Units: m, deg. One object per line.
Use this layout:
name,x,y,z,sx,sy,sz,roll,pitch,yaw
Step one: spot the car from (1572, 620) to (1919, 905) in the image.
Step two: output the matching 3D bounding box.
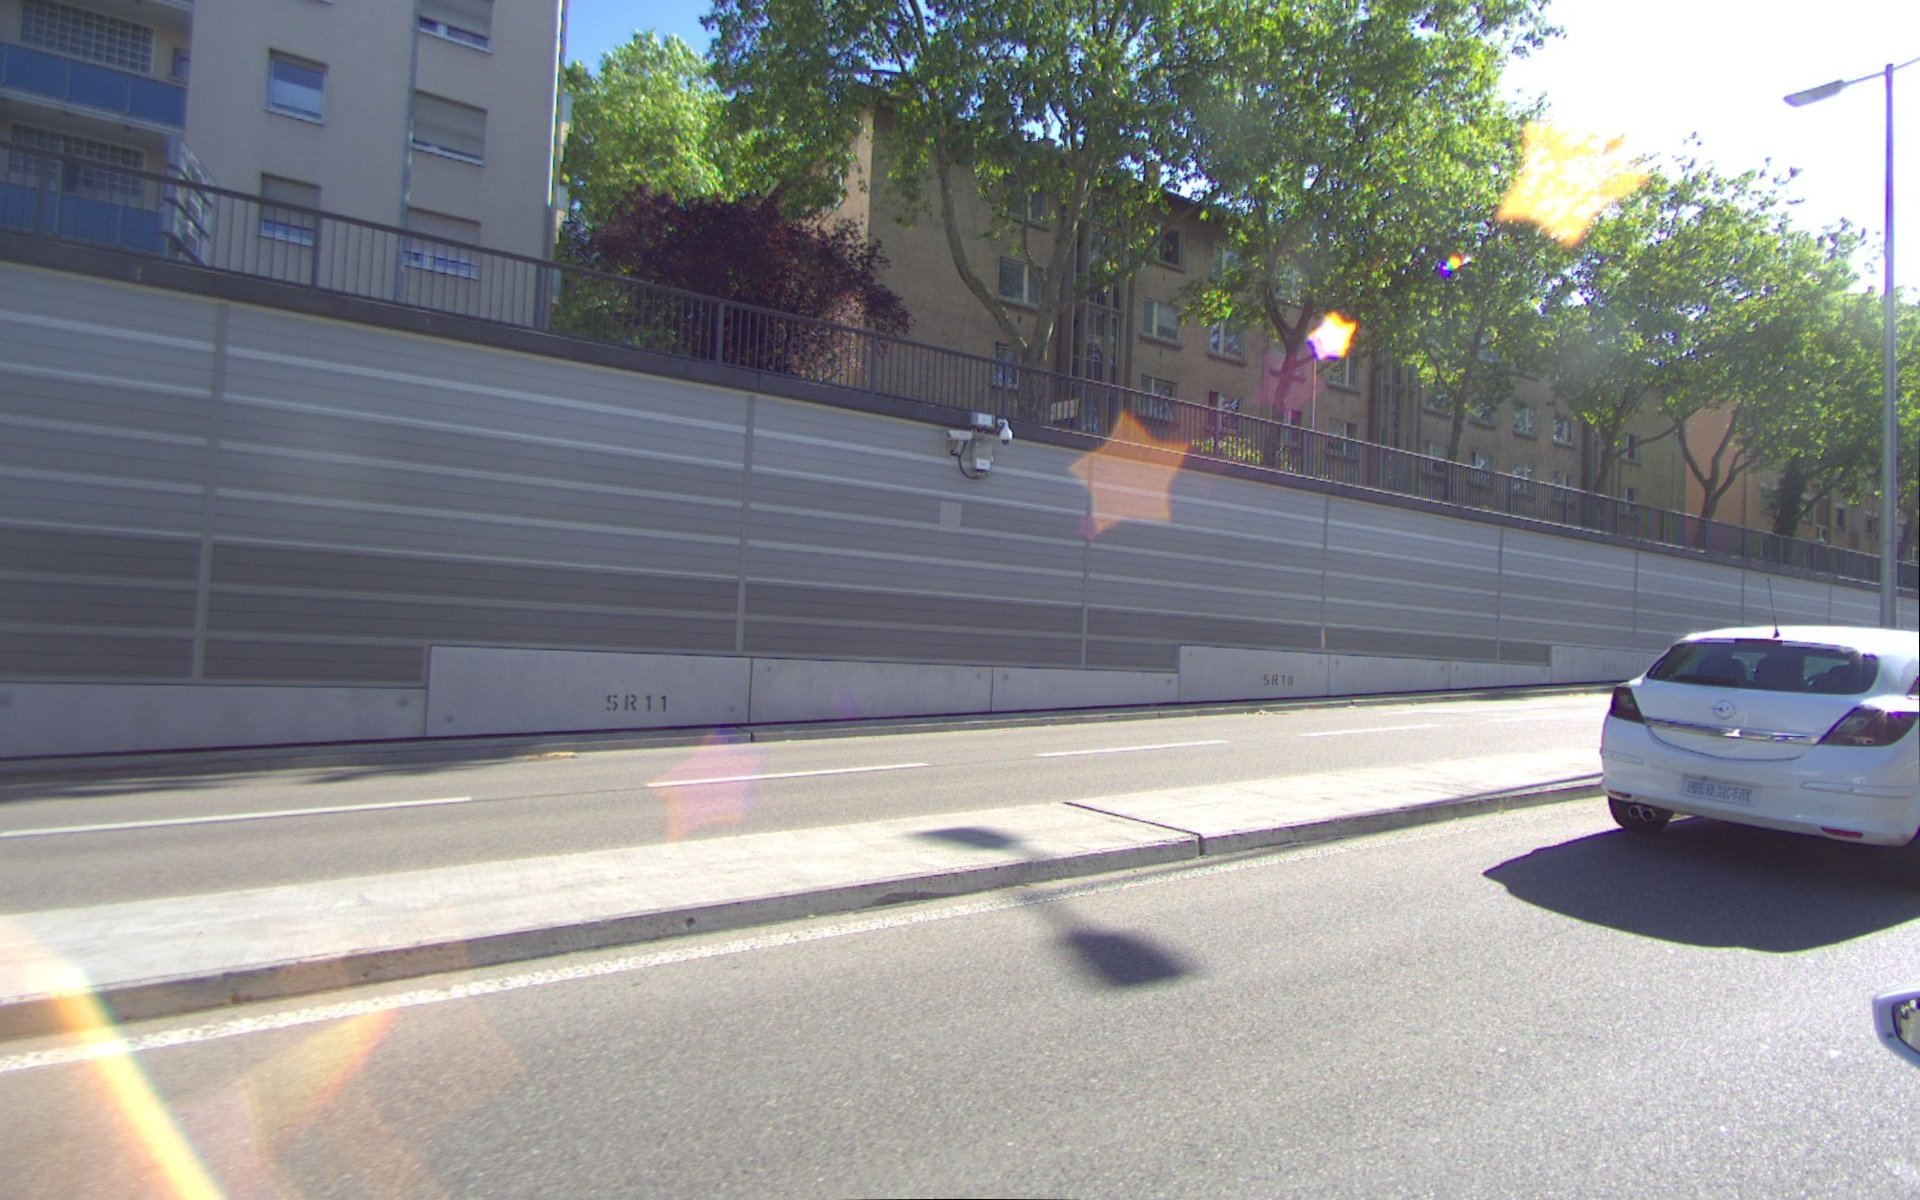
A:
car,6.038,0.905,6.818,3.807,1.422,1.611,2,0,-31
